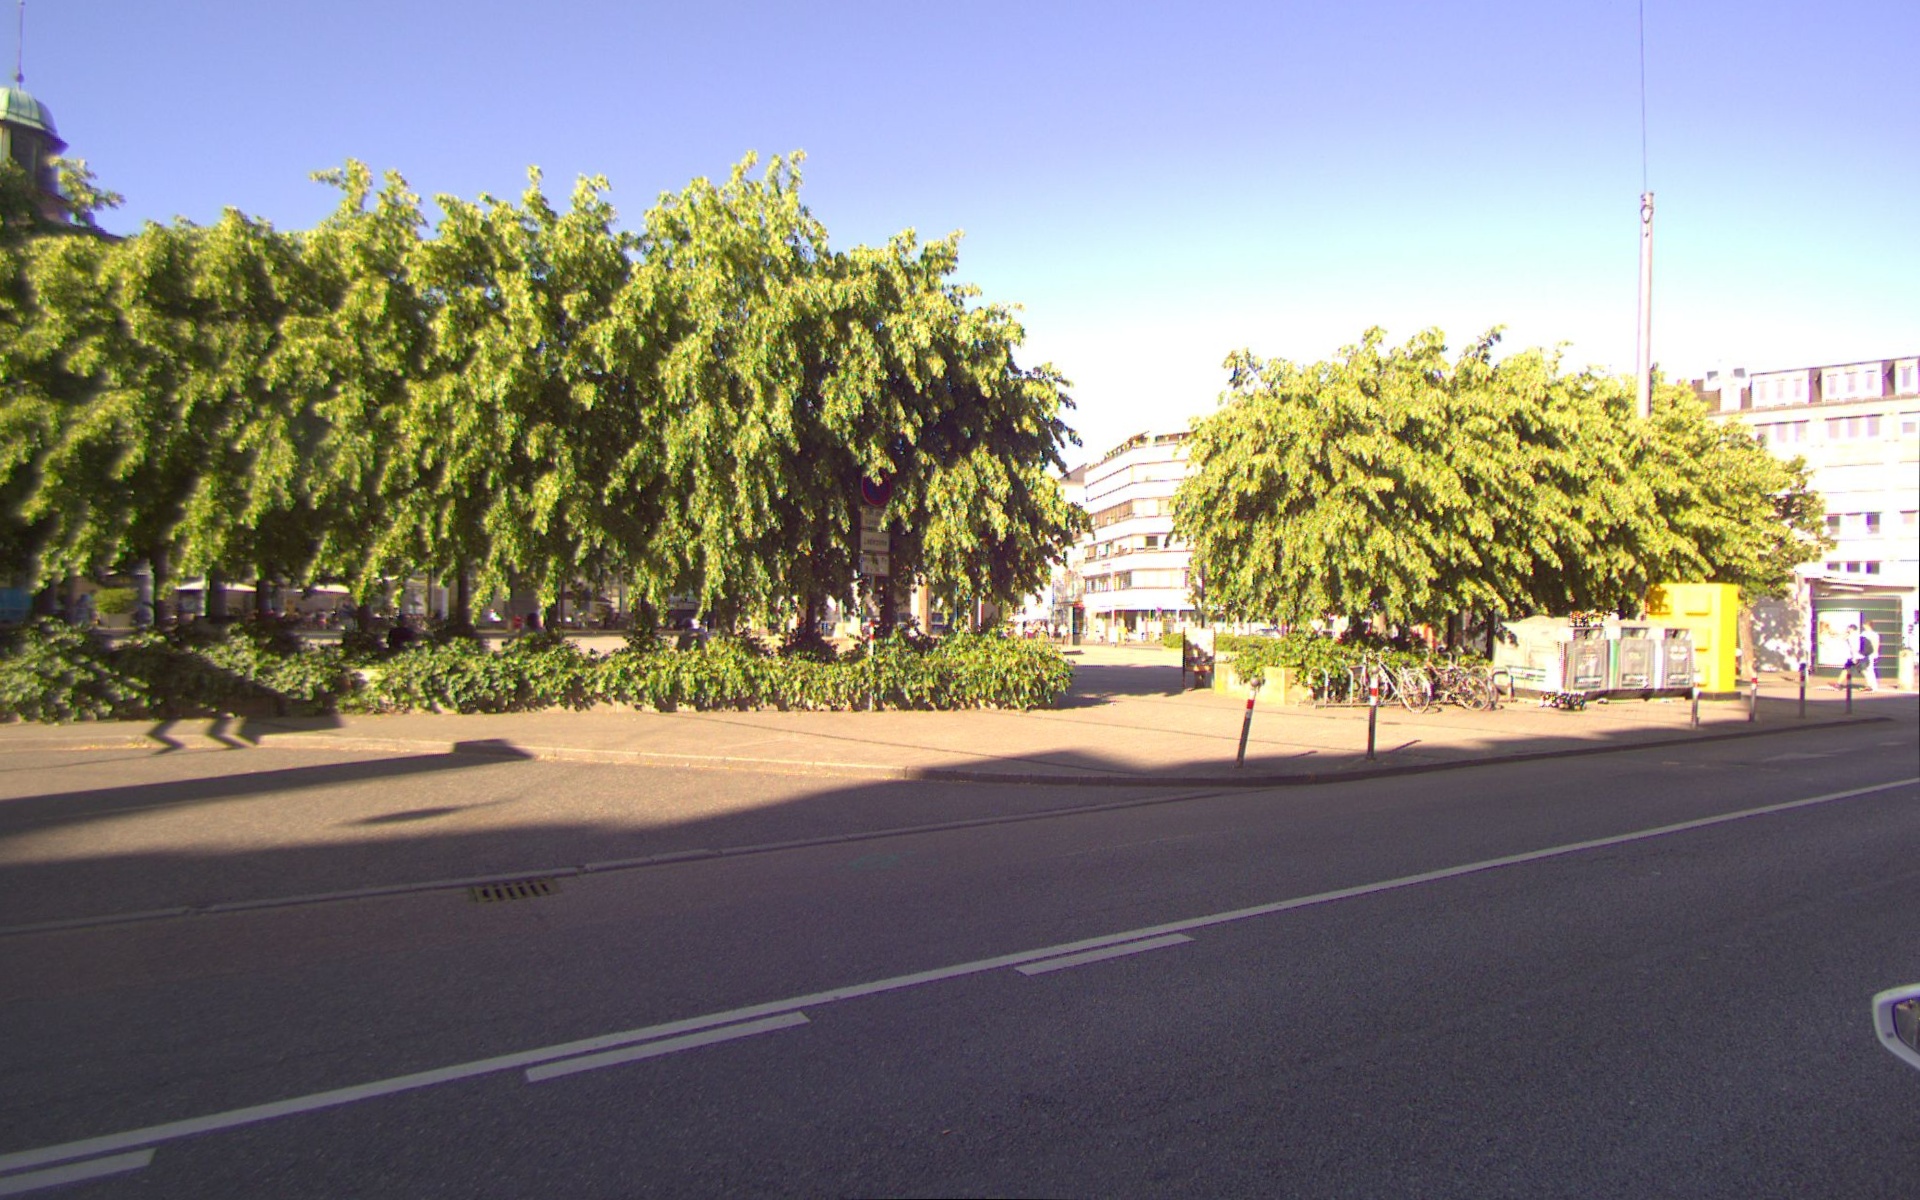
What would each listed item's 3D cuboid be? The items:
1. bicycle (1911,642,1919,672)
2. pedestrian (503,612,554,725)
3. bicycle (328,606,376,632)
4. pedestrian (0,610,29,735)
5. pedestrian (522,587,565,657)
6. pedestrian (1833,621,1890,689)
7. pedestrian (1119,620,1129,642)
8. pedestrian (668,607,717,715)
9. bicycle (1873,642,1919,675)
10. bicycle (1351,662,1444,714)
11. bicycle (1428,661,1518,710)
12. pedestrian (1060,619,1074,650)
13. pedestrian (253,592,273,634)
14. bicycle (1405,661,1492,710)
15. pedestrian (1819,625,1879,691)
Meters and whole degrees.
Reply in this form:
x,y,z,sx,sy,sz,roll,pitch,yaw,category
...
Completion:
x,y,z,sx,sy,sz,roll,pitch,yaw,category
36.626,2.144,37.091,0.796,1.119,2.073,1,-1,-29,bicycle
-7.382,1.159,17.191,0.722,1.881,0.578,2,0,-27,pedestrian
-26.064,0.808,43.042,2.018,1.030,0.504,1,0,16,bicycle
-14.739,1.104,15.374,0.595,1.881,0.577,2,0,-33,pedestrian
-10.885,0.578,26.273,0.918,1.775,0.728,1,0,-15,pedestrian
23.907,1.450,26.646,0.734,1.748,0.898,1,0,-26,pedestrian
13.593,2.554,83.131,0.591,1.816,0.581,1,0,-12,pedestrian
-4.813,1.082,18.061,0.574,1.881,0.598,1,0,41,pedestrian
34.319,2.098,36.121,0.796,1.119,2.073,1,-1,-29,bicycle
7.639,1.520,17.602,0.467,0.779,1.653,2,0,-20,bicycle
9.387,1.551,18.429,0.468,0.779,1.468,2,0,-27,bicycle
7.002,2.277,65.962,0.670,2.040,0.579,1,0,-23,pedestrian
-30.447,0.585,43.896,0.597,1.816,0.575,2,0,-44,pedestrian
8.859,1.537,18.253,0.435,0.779,1.469,2,0,-25,bicycle
23.291,1.506,26.329,0.727,1.658,0.983,1,0,-26,pedestrian
